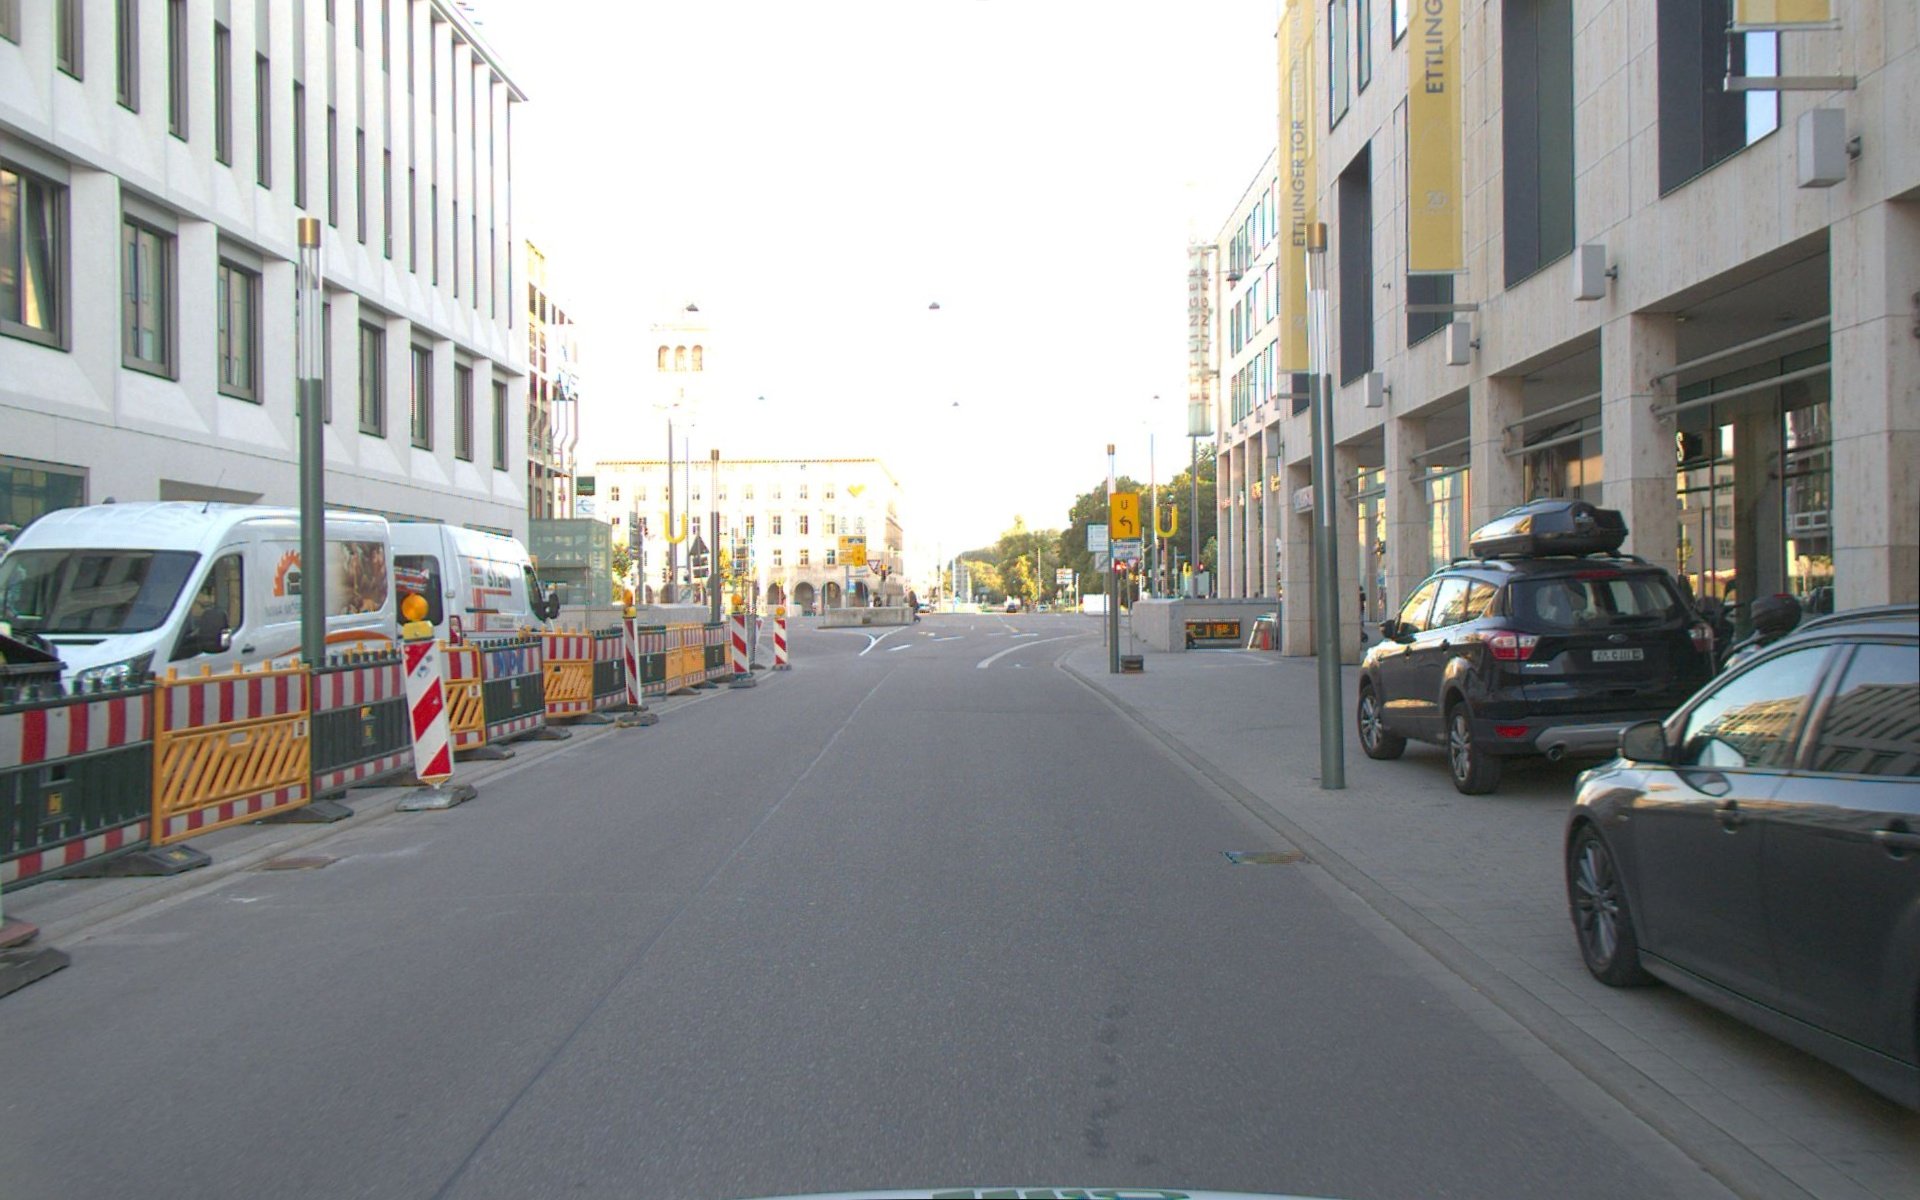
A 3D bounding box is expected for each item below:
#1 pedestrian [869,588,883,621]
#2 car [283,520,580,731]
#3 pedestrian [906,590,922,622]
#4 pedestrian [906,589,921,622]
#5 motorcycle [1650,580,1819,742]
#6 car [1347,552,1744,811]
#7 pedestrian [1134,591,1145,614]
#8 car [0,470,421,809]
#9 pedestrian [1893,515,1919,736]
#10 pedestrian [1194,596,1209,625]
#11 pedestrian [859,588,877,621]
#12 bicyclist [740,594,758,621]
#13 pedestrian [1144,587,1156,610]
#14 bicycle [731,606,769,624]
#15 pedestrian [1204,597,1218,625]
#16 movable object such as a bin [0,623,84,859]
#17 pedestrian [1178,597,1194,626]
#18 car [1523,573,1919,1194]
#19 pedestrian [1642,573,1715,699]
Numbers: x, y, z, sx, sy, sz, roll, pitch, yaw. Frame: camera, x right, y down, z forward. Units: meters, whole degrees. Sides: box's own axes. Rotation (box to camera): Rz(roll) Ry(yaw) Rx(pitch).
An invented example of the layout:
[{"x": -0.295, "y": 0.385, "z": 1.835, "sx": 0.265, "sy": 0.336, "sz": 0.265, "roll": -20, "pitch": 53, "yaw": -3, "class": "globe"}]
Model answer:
[{"x": -4.790, "y": 0.267, "z": 94.456, "sx": 0.723, "sy": 1.808, "sz": 0.863, "roll": -3, "pitch": 0, "yaw": -2, "class": "pedestrian"}, {"x": -6.993, "y": 0.305, "z": 22.730, "sx": 2.129, "sy": 2.513, "sz": 5.999, "roll": 0, "pitch": 0, "yaw": 0, "class": "car"}, {"x": -2.579, "y": 0.330, "z": 92.257, "sx": 0.725, "sy": 1.808, "sz": 0.860, "roll": 0, "pitch": 0, "yaw": -13, "class": "pedestrian"}, {"x": -2.566, "y": 0.309, "z": 91.508, "sx": 0.724, "sy": 1.808, "sz": 0.862, "roll": -3, "pitch": 0, "yaw": -5, "class": "pedestrian"}, {"x": 7.378, "y": 0.546, "z": 15.873, "sx": 0.678, "sy": 1.441, "sz": 2.136, "roll": -1, "pitch": 0, "yaw": 2, "class": "motorcycle"}, {"x": 4.501, "y": 0.569, "z": 13.407, "sx": 1.732, "sy": 1.666, "sz": 4.057, "roll": -4, "pitch": 0, "yaw": 1, "class": "car"}, {"x": 14.004, "y": 0.173, "z": 128.944, "sx": 0.792, "sy": 1.760, "sz": 0.688, "roll": -1, "pitch": 0, "yaw": -1, "class": "pedestrian"}, {"x": -7.055, "y": 0.297, "z": 15.277, "sx": 2.129, "sy": 2.513, "sz": 5.999, "roll": 0, "pitch": 0, "yaw": 1, "class": "car"}, {"x": 7.787, "y": 0.195, "z": 12.704, "sx": 0.749, "sy": 1.710, "sz": 0.877, "roll": -1, "pitch": 1, "yaw": 0, "class": "pedestrian"}, {"x": 15.056, "y": 0.657, "z": 103.214, "sx": 0.740, "sy": 1.808, "sz": 0.741, "roll": -3, "pitch": 0, "yaw": 1, "class": "pedestrian"}, {"x": -5.180, "y": 0.274, "z": 93.376, "sx": 0.722, "sy": 1.808, "sz": 0.864, "roll": -3, "pitch": 0, "yaw": 11, "class": "pedestrian"}, {"x": -12.867, "y": 0.448, "z": 101.074, "sx": 0.999, "sy": 1.649, "sz": 0.653, "roll": -1, "pitch": 0, "yaw": 0, "class": "bicyclist"}, {"x": 14.842, "y": -0.121, "z": 129.151, "sx": 0.793, "sy": 1.760, "sz": 0.686, "roll": -1, "pitch": 0, "yaw": -9, "class": "pedestrian"}, {"x": -12.834, "y": 0.916, "z": 101.091, "sx": 2.196, "sy": 1.080, "sz": 0.653, "roll": -1, "pitch": 0, "yaw": 0, "class": "bicycle"}, {"x": 15.940, "y": 0.672, "z": 104.916, "sx": 0.818, "sy": 1.760, "sz": 0.688, "roll": -1, "pitch": 0, "yaw": 3, "class": "pedestrian"}, {"x": -6.696, "y": 0.912, "z": 11.159, "sx": 1.025, "sy": 1.492, "sz": 1.390, "roll": 0, "pitch": 0, "yaw": -11, "class": "movable object such as a bin"}, {"x": 14.169, "y": 0.722, "z": 103.832, "sx": 0.843, "sy": 1.808, "sz": 0.741, "roll": -3, "pitch": 0, "yaw": 1, "class": "pedestrian"}, {"x": 3.272, "y": 0.690, "z": 4.866, "sx": 1.758, "sy": 1.516, "sz": 4.193, "roll": -4, "pitch": 0, "yaw": 1, "class": "car"}, {"x": 9.365, "y": 0.457, "z": 21.567, "sx": 0.620, "sy": 1.595, "sz": 0.775, "roll": -1, "pitch": 1, "yaw": 0, "class": "pedestrian"}]
